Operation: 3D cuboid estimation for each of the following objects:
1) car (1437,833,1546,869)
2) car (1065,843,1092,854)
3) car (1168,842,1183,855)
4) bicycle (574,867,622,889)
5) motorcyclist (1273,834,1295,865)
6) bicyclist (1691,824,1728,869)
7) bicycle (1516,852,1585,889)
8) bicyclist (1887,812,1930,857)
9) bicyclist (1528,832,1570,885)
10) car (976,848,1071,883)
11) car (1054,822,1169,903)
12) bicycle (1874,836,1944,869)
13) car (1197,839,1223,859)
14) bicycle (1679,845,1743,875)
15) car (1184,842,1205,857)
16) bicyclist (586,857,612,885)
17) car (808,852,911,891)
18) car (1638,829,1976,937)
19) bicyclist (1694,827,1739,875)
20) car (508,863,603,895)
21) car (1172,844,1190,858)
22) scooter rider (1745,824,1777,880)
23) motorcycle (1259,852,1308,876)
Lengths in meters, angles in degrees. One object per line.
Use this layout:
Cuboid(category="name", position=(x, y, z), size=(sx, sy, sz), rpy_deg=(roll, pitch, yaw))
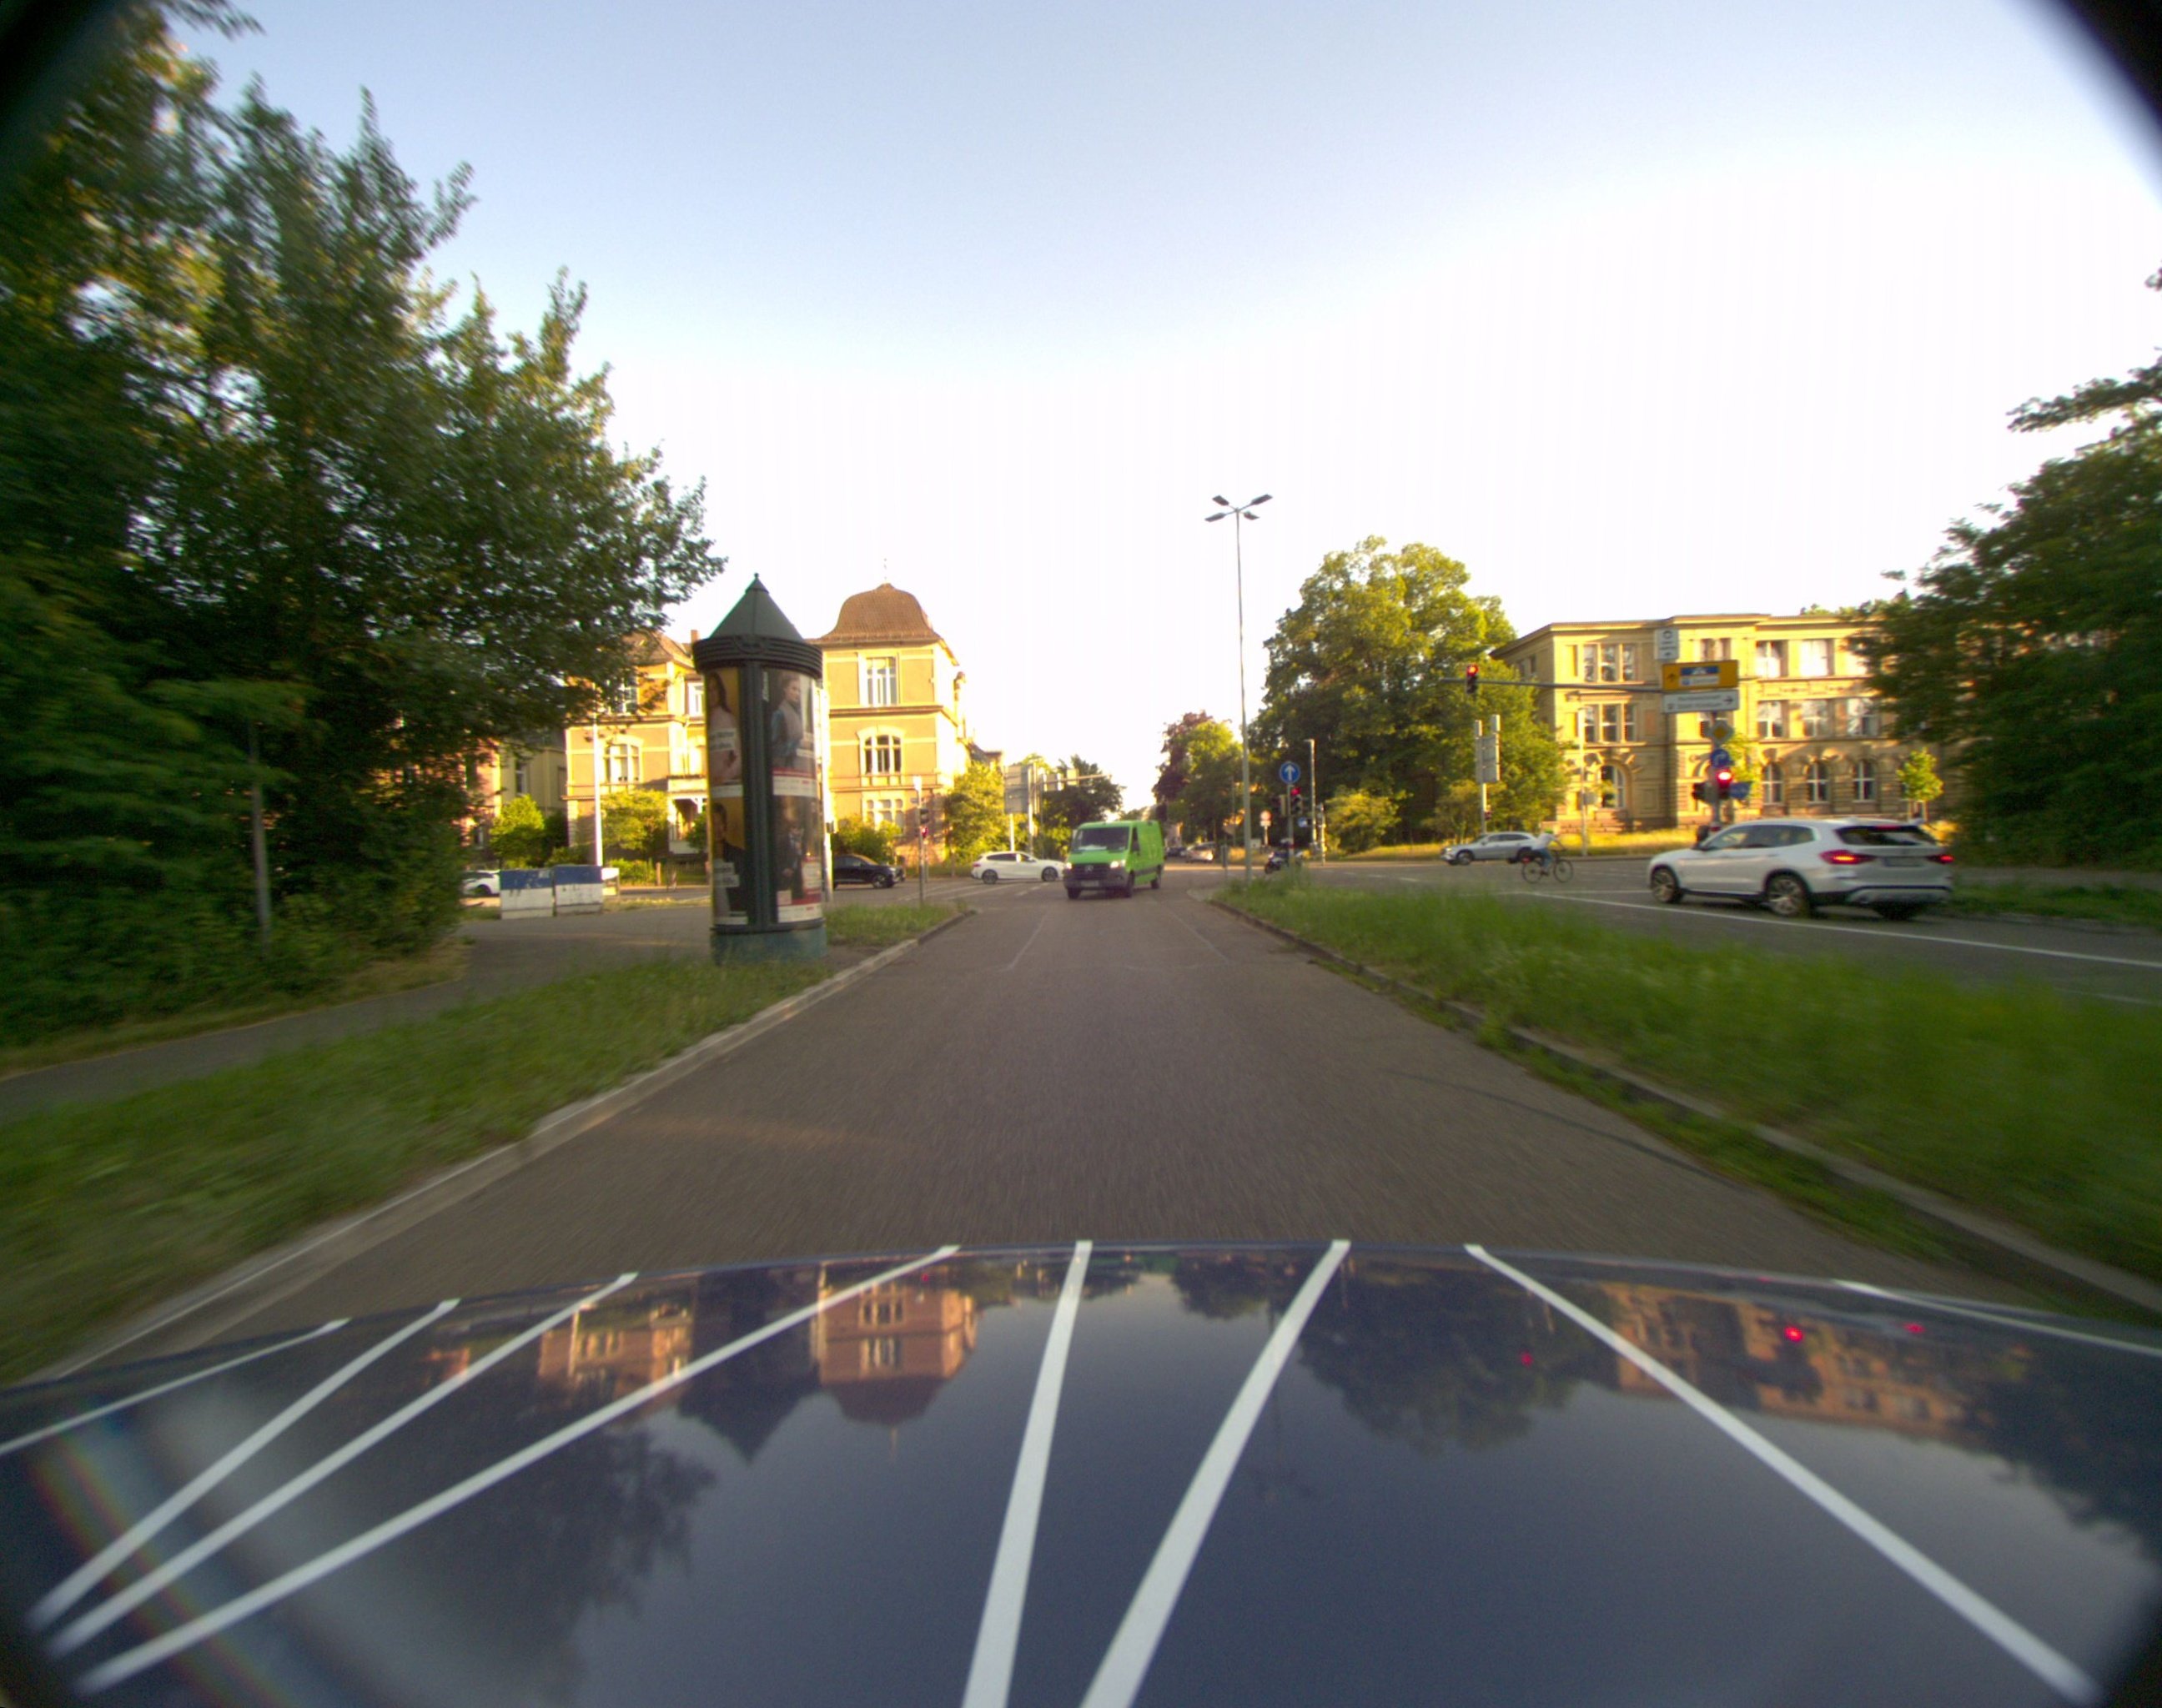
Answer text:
Cuboid(category="car", position=(20.718, -0.156, 38.506), size=(4.506, 1.626, 1.771), rpy_deg=(-2, 1, 9))
Cuboid(category="car", position=(-0.383, -0.799, 113.580), size=(3.838, 1.500, 1.811), rpy_deg=(1, 3, 41))
Cuboid(category="car", position=(13.709, -0.824, 110.252), size=(1.798, 1.718, 3.999), rpy_deg=(-2, 2, 2))
Cuboid(category="bicycle", position=(-26.654, 1.305, 41.944), size=(2.167, 1.117, 0.688), rpy_deg=(-1, 2, 1))
Cuboid(category="motorcyclist", position=(8.866, -0.200, 33.198), size=(0.704, 1.350, 0.751), rpy_deg=(-1, 1, -8))
Cuboid(category="bicyclist", position=(23.463, -0.291, 28.355), size=(0.797, 1.658, 0.700), rpy_deg=(-2, 2, 0))
Cuboid(category="bicycle", position=(14.038, 0.486, 22.721), size=(1.802, 1.008, 0.565), rpy_deg=(-2, 1, -8))
Cuboid(category="bicyclist", position=(30.311, -0.713, 27.840), size=(0.909, 1.577, 0.605), rpy_deg=(-2, 2, 1))
Cuboid(category="bicyclist", position=(13.990, 0.129, 22.707), size=(0.899, 1.560, 0.555), rpy_deg=(-2, 1, -7))
Cuboid(category="car", position=(-2.660, 0.501, 34.790), size=(4.188, 1.457, 1.756), rpy_deg=(-2, 1, -7))
Cuboid(category="car", position=(1.178, 0.204, 24.582), size=(2.041, 2.265, 5.948), rpy_deg=(-1, 1, 19))
Cuboid(category="bicycle", position=(30.344, -0.072, 27.850), size=(1.883, 1.131, 0.615), rpy_deg=(-2, 2, 1))
Cuboid(category="car", position=(12.813, -0.528, 75.665), size=(1.861, 1.835, 4.120), rpy_deg=(-2, 1, 0))
Cuboid(category="bicycle", position=(23.507, 0.210, 28.376), size=(1.824, 1.057, 0.701), rpy_deg=(-2, 2, 0))
Cuboid(category="car", position=(12.884, -0.514, 86.731), size=(1.936, 1.696, 4.000), rpy_deg=(-2, 1, 2))
Cuboid(category="bicyclist", position=(-26.614, 0.933, 41.949), size=(0.955, 1.504, 0.685), rpy_deg=(-2, 2, 1))
Cuboid(category="car", position=(-9.732, 0.755, 33.543), size=(3.997, 1.527, 1.683), rpy_deg=(-2, 1, 0))
Cuboid(category="car", position=(12.549, 0.396, 13.689), size=(1.825, 1.604, 4.641), rpy_deg=(0, 1, 4))
Cuboid(category="bicyclist", position=(21.025, -0.108, 25.153), size=(0.856, 1.509, 0.761), rpy_deg=(-2, 2, -9))
Cuboid(category="car", position=(-26.905, 1.279, 38.961), size=(3.719, 1.525, 1.634), rpy_deg=(-2, -2, 2))
Cuboid(category="car", position=(12.757, -0.381, 96.991), size=(1.936, 1.633, 4.000), rpy_deg=(-2, 1, 2))
Cuboid(category="scooter rider", position=(21.546, -0.069, 24.092), size=(0.504, 1.756, 0.567), rpy_deg=(-1, 1, 2))
Cuboid(category="motorcycle", position=(8.850, 0.430, 33.206), size=(1.879, 0.995, 0.756), rpy_deg=(-2, 1, -8))
